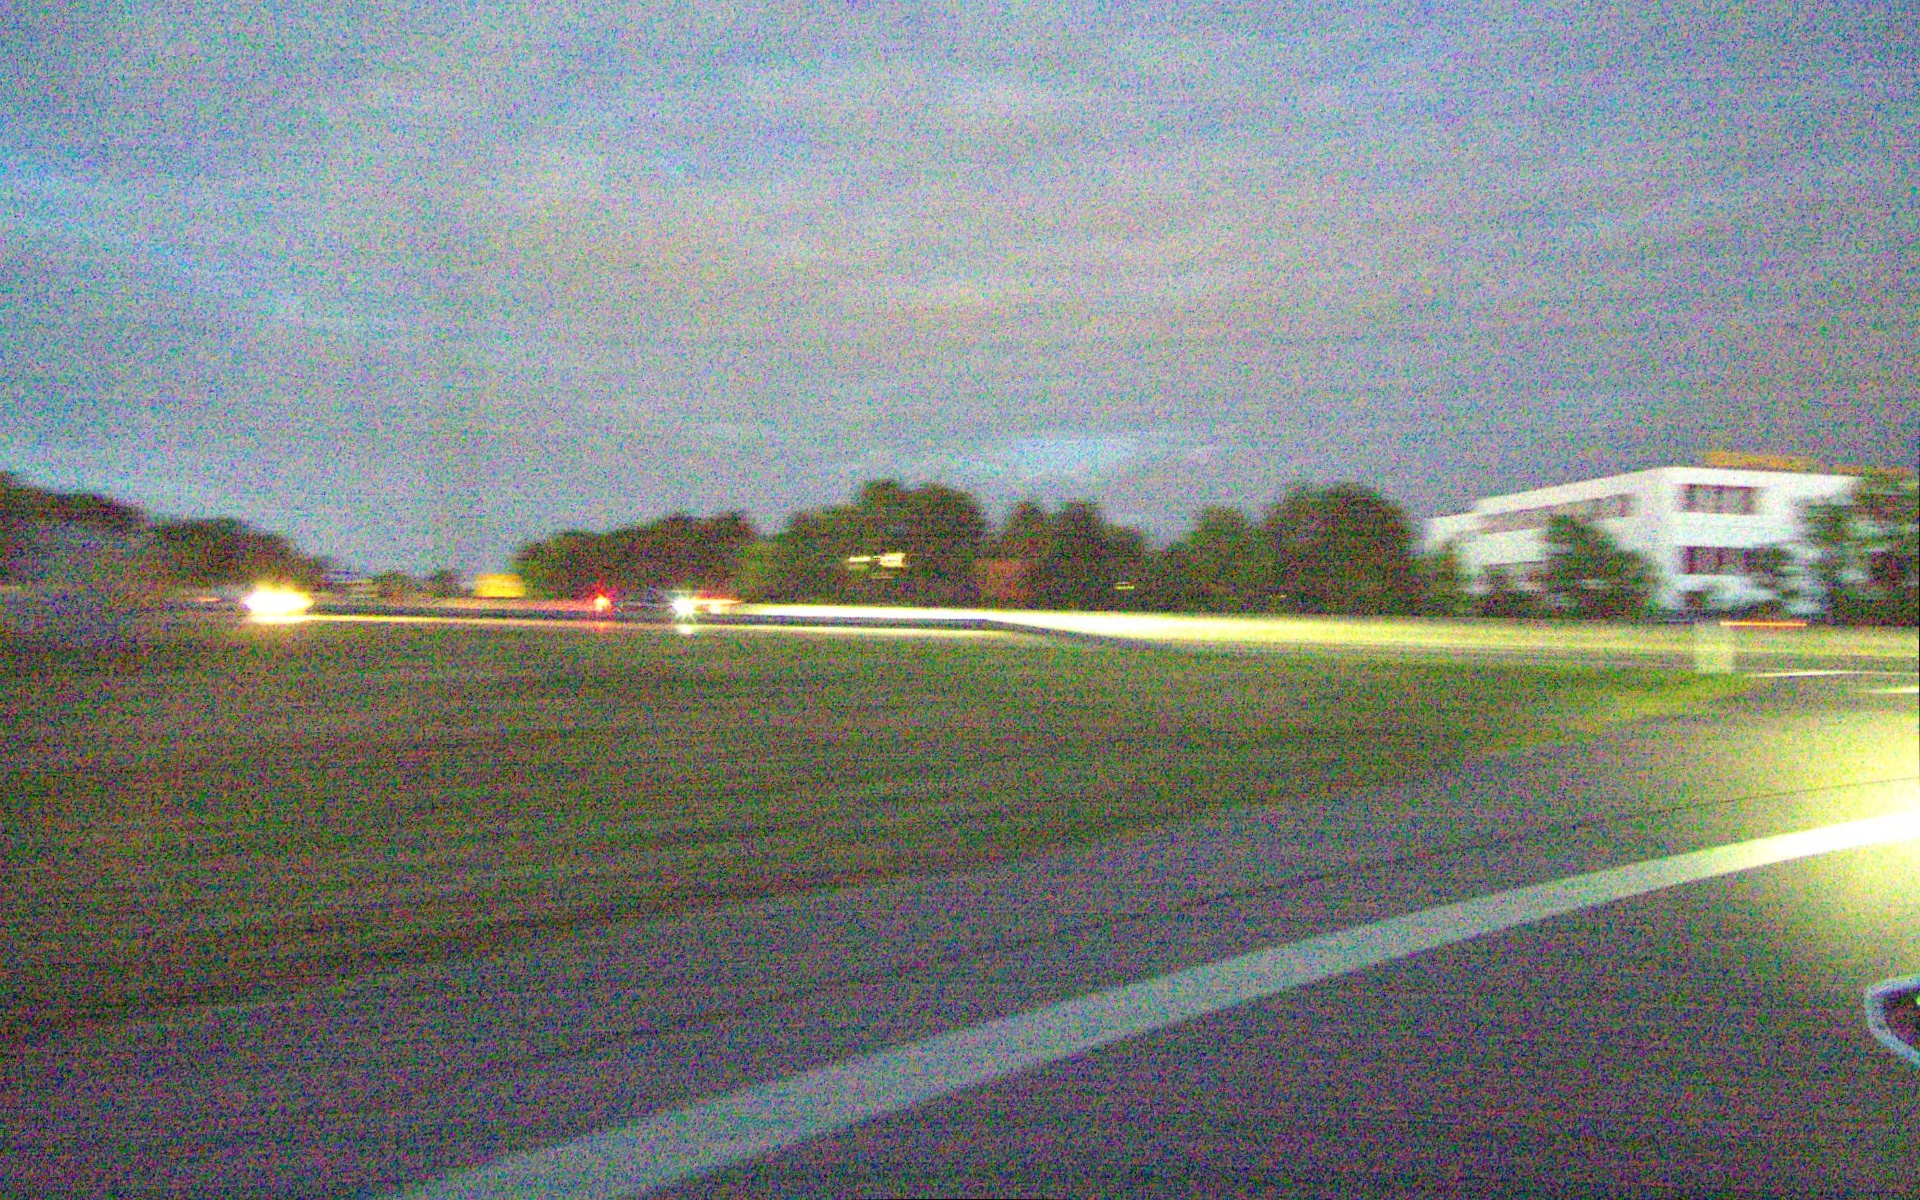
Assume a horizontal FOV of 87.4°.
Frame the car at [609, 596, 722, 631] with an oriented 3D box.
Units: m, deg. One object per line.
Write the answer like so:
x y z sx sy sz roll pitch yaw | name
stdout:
-12.510 0.550 42.733 4.412 1.419 1.610 1 1 16 | car

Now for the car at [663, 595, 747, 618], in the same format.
-13.254 0.318 52.243 3.919 1.073 1.565 1 1 12 | car

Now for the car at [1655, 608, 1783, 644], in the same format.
29.510 0.988 39.169 3.641 1.294 1.629 1 1 18 | car

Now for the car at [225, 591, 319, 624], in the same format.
-30.722 0.334 44.881 3.559 1.387 1.732 1 1 20 | car
